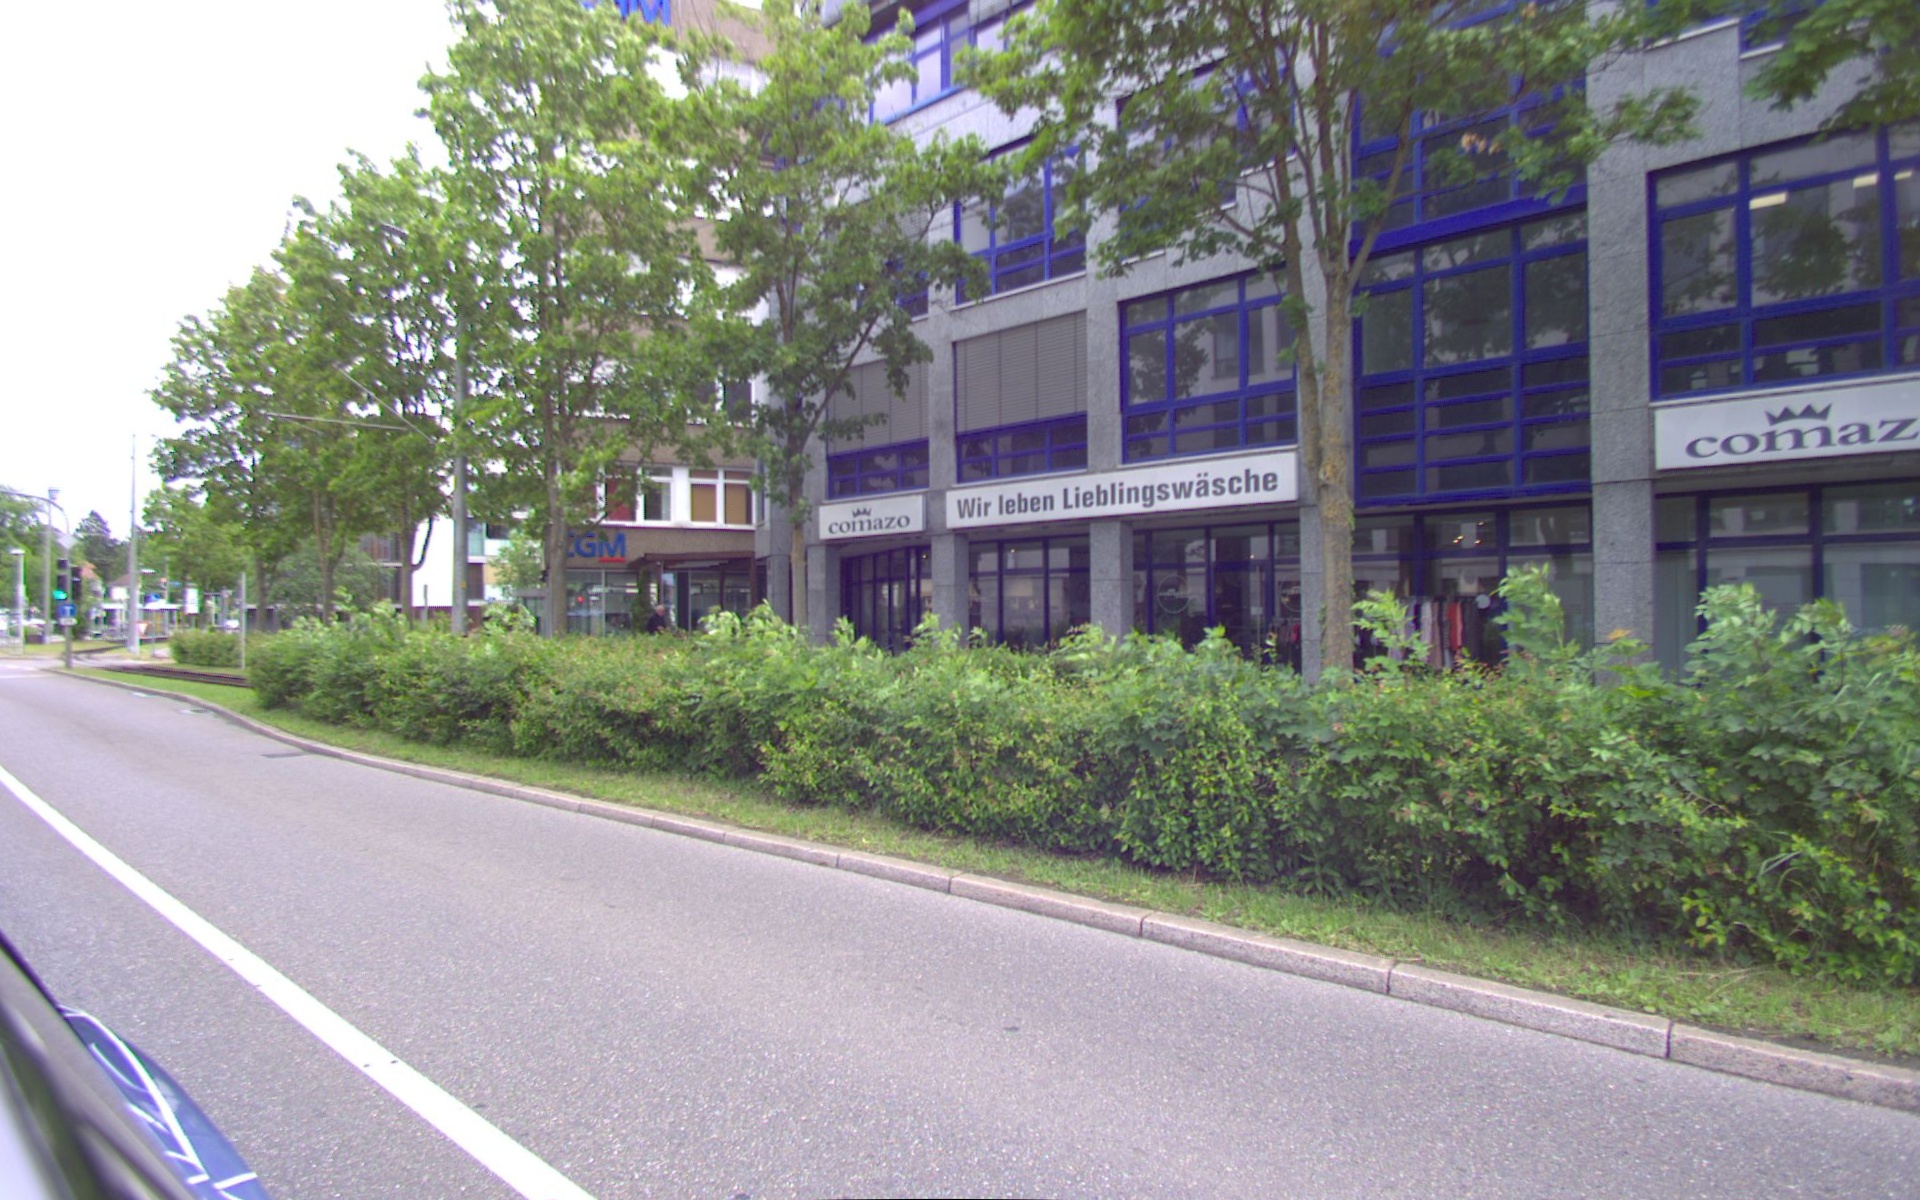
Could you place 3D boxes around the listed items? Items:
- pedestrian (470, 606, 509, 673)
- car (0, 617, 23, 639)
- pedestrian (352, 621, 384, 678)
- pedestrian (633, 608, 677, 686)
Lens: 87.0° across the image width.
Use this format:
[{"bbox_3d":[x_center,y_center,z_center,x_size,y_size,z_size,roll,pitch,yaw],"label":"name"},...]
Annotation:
[{"bbox_3d":[-13.979,1.156,30.066,0.731,1.938,0.805,-1,0,40],"label":"pedestrian"},{"bbox_3d":[-89.740,2.633,94.605,1.965,2.029,4.013,0,0,-25],"label":"car"},{"bbox_3d":[-19.302,1.596,32.997,0.730,1.819,0.672,-1,0,37],"label":"pedestrian"},{"bbox_3d":[-7.612,1.150,25.231,0.731,1.908,0.766,-1,0,40],"label":"pedestrian"}]
